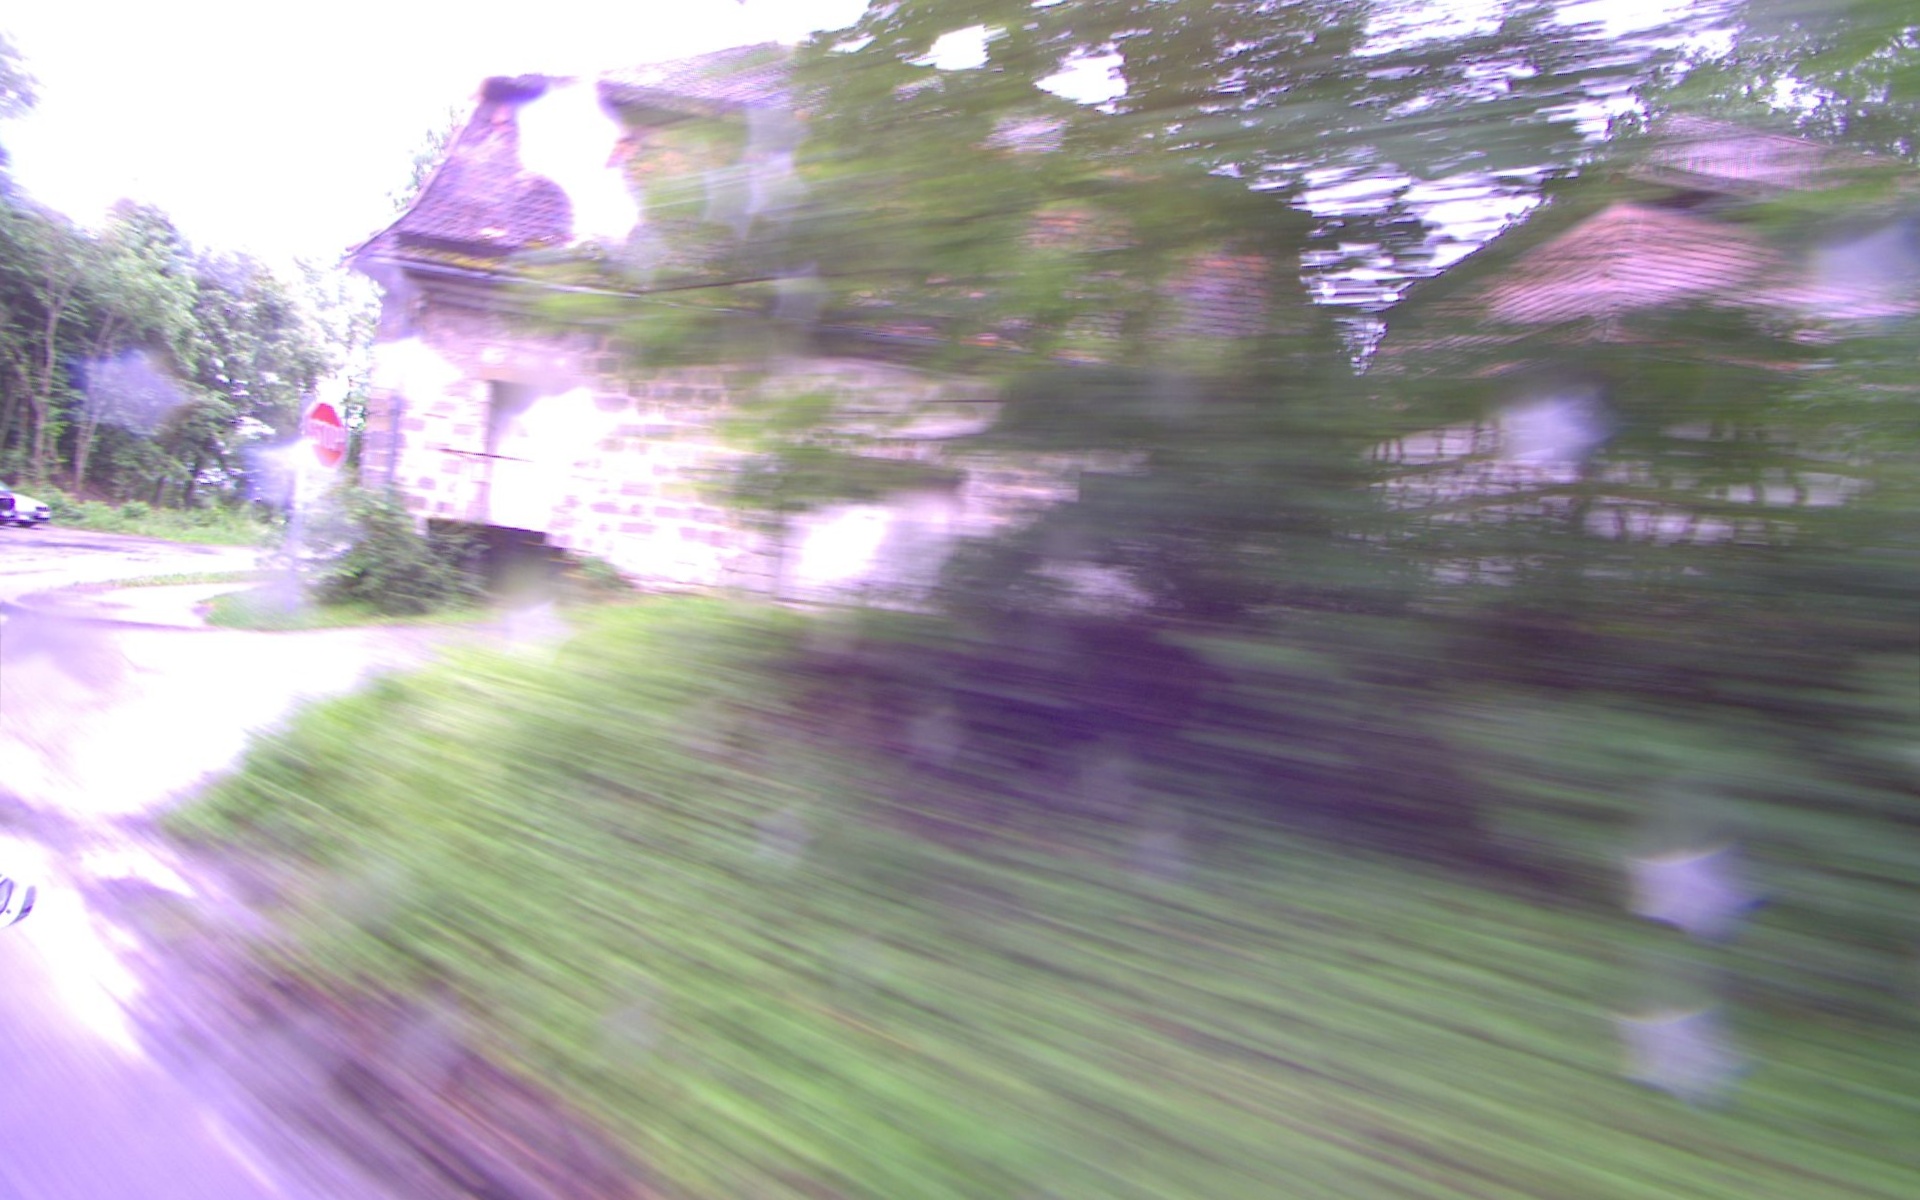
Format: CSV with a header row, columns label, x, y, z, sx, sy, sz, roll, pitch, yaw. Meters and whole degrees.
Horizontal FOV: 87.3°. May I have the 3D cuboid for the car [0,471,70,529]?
label,x,y,z,sx,sy,sz,roll,pitch,yaw
car,-30.083,-3.253,30.576,4.085,1.574,1.768,8,1,-15

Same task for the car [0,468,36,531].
label,x,y,z,sx,sy,sz,roll,pitch,yaw
car,-28.982,-3.129,27.690,4.767,1.699,1.869,8,1,-16
